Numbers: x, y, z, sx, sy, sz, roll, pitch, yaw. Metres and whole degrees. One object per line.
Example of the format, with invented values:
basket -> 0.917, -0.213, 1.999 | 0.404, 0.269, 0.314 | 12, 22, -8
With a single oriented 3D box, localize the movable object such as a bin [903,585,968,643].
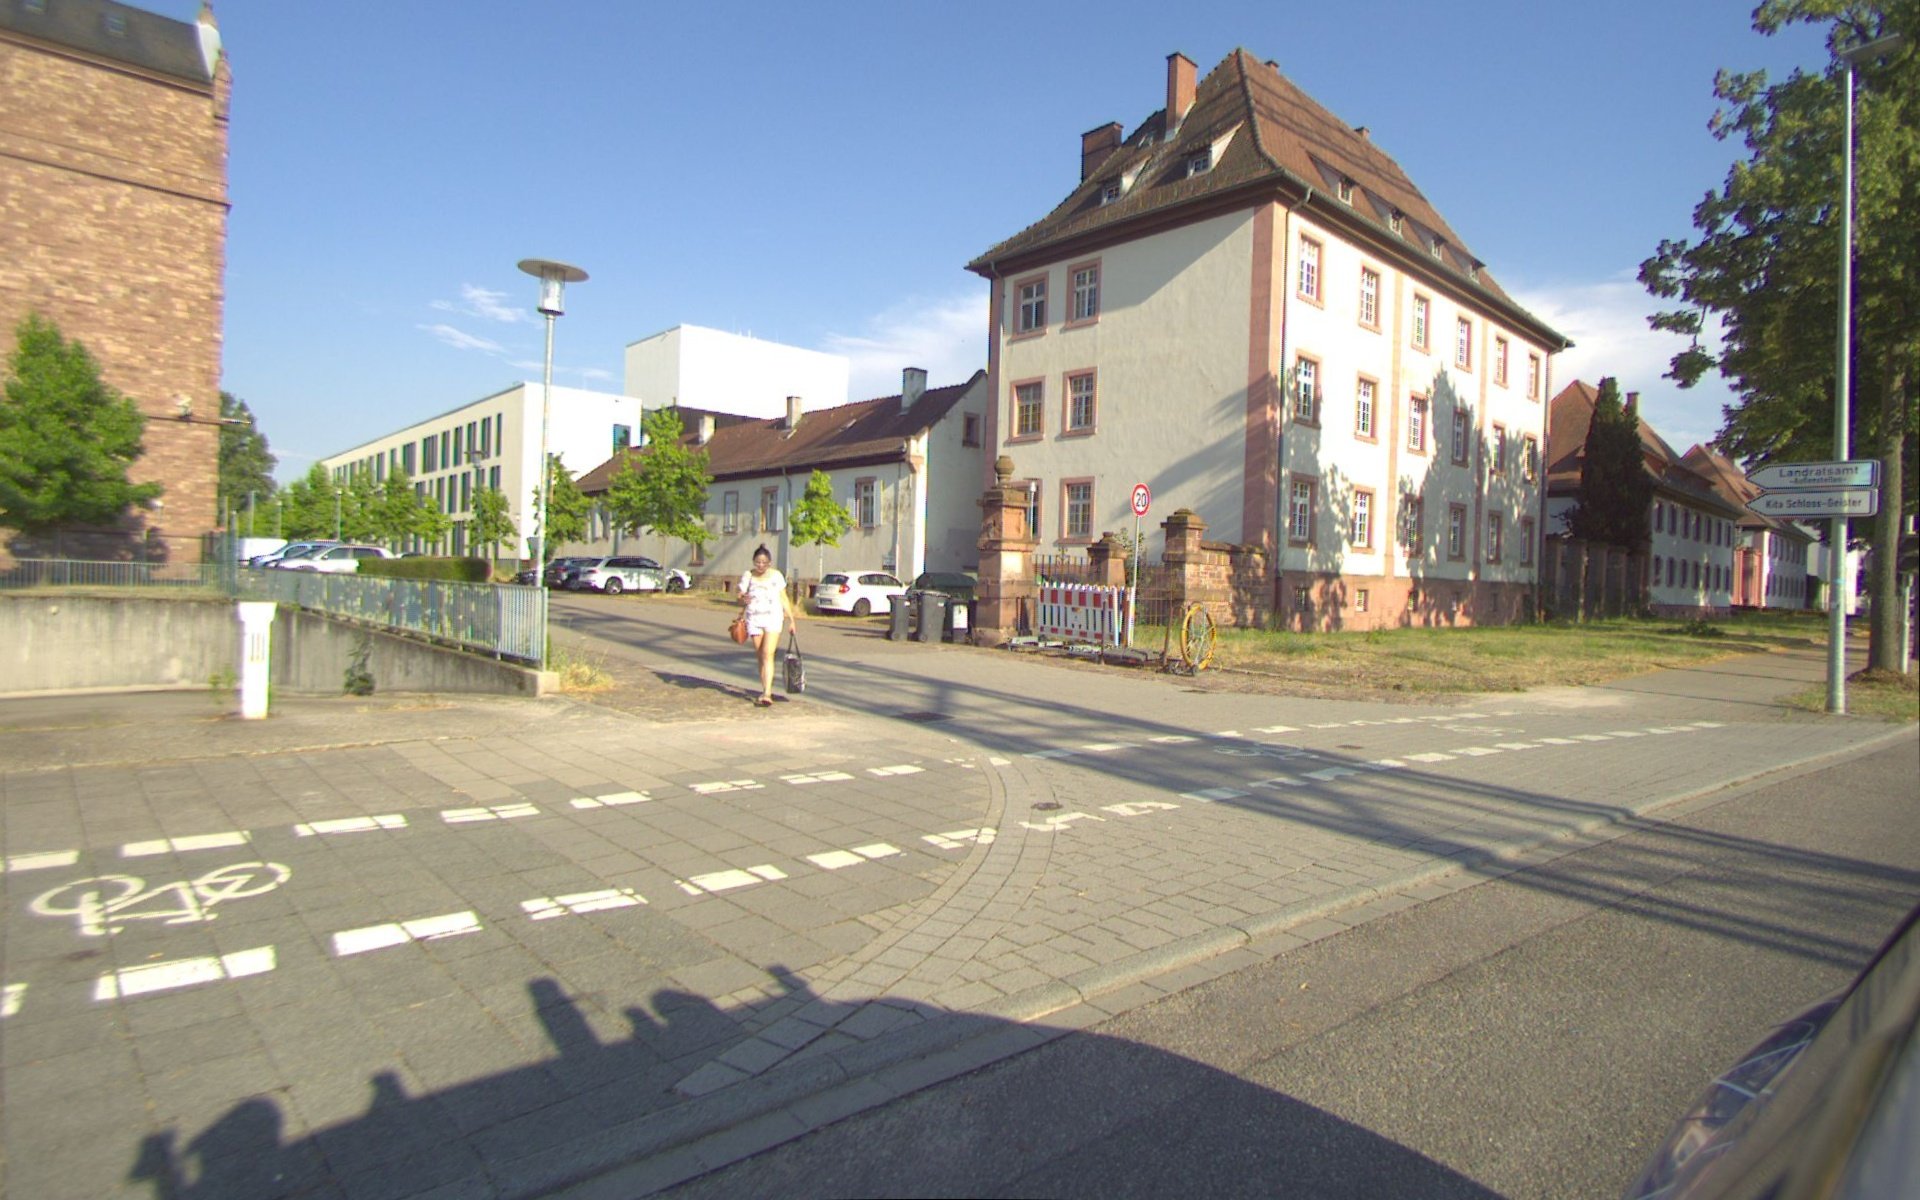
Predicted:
movable object such as a bin -> -0.493, 0.261, 20.028 | 0.920, 1.105, 0.987 | -1, 0, -32

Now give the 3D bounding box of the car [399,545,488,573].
car -> -33.784, -2.622, 66.238 | 4.886, 1.734, 1.996 | -1, 1, -42

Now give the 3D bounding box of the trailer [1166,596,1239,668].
trailer -> 3.869, 0.486, 16.110 | 1.245, 1.080, 0.483 | -1, 0, -40

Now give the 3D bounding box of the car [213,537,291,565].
car -> -45.299, -3.114, 64.807 | 3.930, 1.638, 1.997 | -1, 1, -41

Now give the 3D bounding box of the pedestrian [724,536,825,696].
pedestrian -> -1.981, 0.159, 10.825 | 0.713, 1.631, 0.778 | -1, 0, 43

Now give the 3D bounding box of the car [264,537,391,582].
car -> -24.509, -1.542, 39.272 | 3.930, 1.638, 1.997 | -1, 1, -41

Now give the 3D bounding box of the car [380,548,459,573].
car -> -40.305, -2.913, 75.564 | 4.886, 1.734, 1.996 | -1, 1, -42

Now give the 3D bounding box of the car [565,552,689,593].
car -> -14.860, -1.216, 45.275 | 4.886, 1.734, 1.996 | -1, 1, -42

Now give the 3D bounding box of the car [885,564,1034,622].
car -> 0.032, -0.208, 27.602 | 3.935, 1.471, 1.792 | -1, 1, -44

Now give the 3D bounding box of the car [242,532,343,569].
car -> -32.614, -2.382, 49.464 | 3.930, 1.638, 1.997 | -1, 1, -41

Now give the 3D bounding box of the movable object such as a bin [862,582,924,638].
movable object such as a bin -> -1.399, 0.193, 20.915 | 0.920, 1.105, 0.987 | -1, 0, -32

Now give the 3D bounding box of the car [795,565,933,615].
car -> -2.967, -0.332, 31.700 | 3.935, 1.471, 1.995 | -1, 1, -44

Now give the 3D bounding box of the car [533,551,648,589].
car -> -17.919, -1.445, 49.216 | 4.886, 1.734, 1.996 | -1, 1, -42
